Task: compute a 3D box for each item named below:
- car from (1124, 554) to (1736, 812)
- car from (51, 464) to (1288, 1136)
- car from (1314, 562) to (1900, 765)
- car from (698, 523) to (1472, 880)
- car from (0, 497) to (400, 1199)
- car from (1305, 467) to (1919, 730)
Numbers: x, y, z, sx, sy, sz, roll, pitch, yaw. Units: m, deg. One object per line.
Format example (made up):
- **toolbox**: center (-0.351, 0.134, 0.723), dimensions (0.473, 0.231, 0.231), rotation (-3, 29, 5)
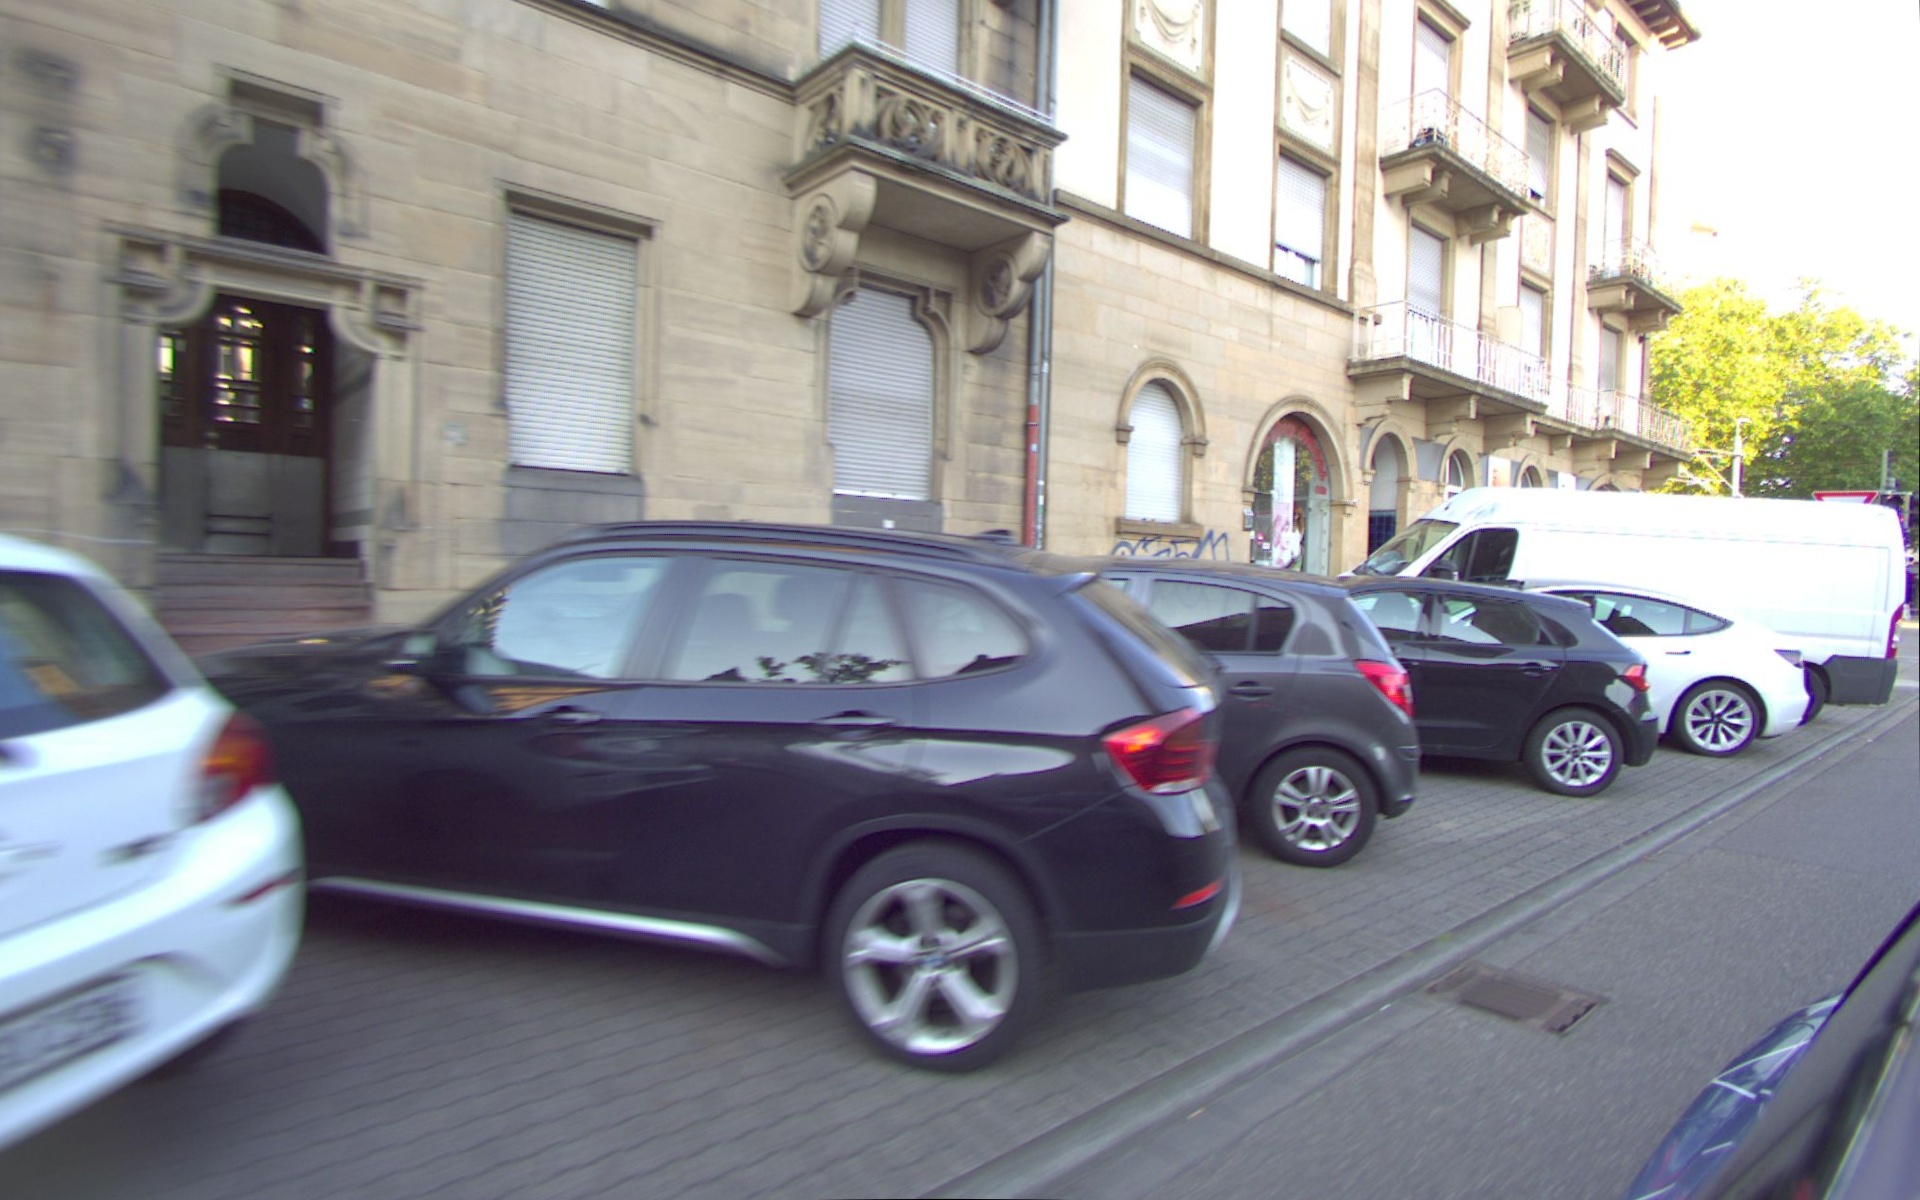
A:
- **car**: center (3.273, 0.490, 7.891), dimensions (3.854, 1.463, 1.871), rotation (3, 4, 10)
- **car**: center (-0.987, 0.422, 3.934), dimensions (4.037, 1.626, 1.811), rotation (3, 3, 12)
- **car**: center (5.786, 0.473, 9.704), dimensions (4.189, 1.470, 1.994), rotation (3, 3, 12)
- **car**: center (0.624, 0.409, 6.001), dimensions (3.852, 1.562, 1.714), rotation (3, 4, 9)
- **car**: center (-3.646, 0.456, 2.379), dimensions (4.000, 1.516, 1.747), rotation (4, 3, 15)
- **car**: center (7.370, -0.148, 11.987), dimensions (5.789, 2.581, 2.192), rotation (3, 4, 10)
